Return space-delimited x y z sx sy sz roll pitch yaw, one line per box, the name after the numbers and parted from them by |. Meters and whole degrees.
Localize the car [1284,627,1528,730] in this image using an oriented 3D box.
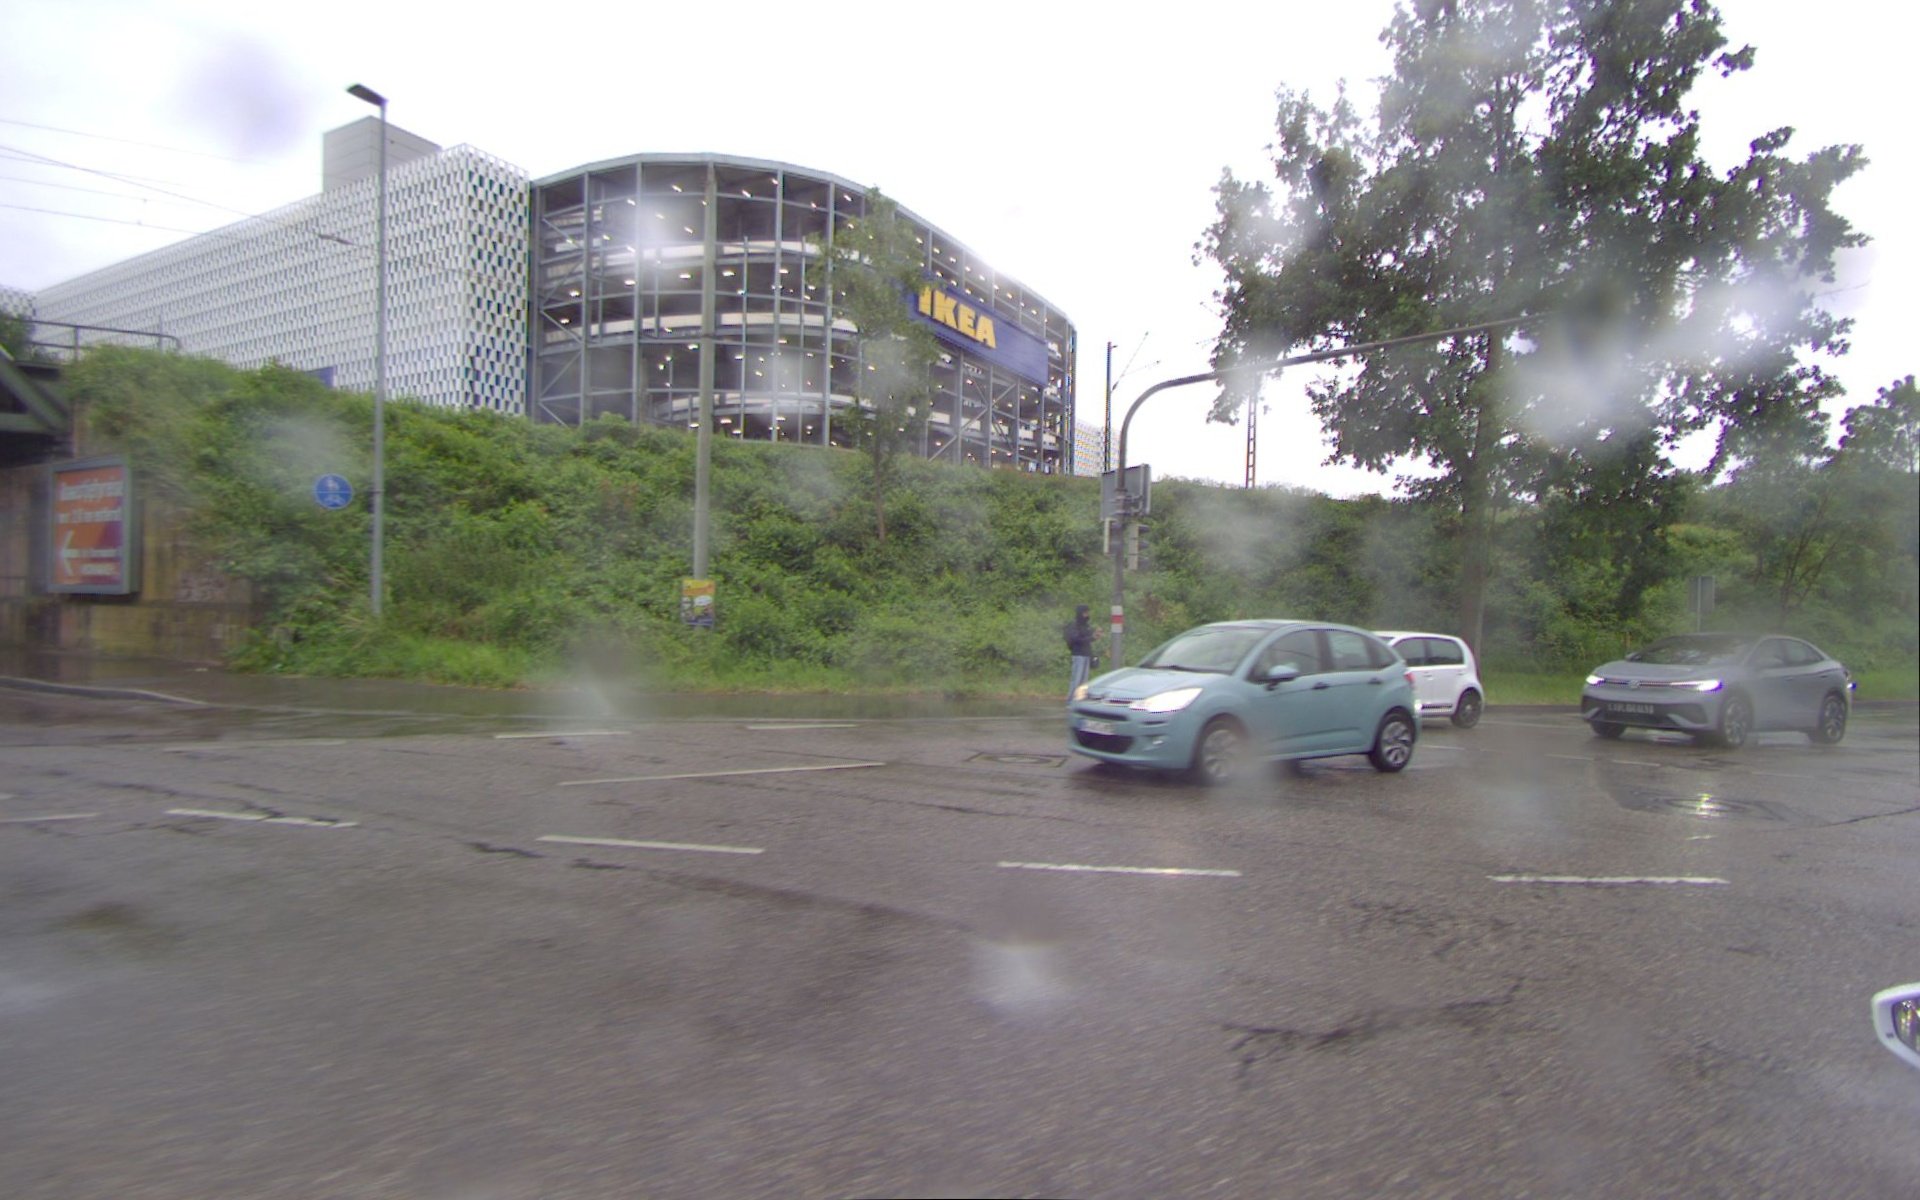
7.212 1.212 16.205 3.739 1.472 1.632 2 -1 -28 | car

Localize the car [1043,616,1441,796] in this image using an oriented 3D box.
2.915 0.956 10.168 3.919 1.493 1.630 2 -1 -31 | car

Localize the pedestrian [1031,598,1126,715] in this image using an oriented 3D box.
1.987 0.929 16.918 1.120 1.871 1.094 2 0 -36 | pedestrian

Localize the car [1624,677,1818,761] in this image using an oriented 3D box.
15.166 2.306 19.999 3.773 1.422 1.585 2 -1 -26 | car

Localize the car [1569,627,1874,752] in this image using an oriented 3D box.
11.507 1.293 15.115 4.751 1.607 1.756 3 -1 -27 | car
